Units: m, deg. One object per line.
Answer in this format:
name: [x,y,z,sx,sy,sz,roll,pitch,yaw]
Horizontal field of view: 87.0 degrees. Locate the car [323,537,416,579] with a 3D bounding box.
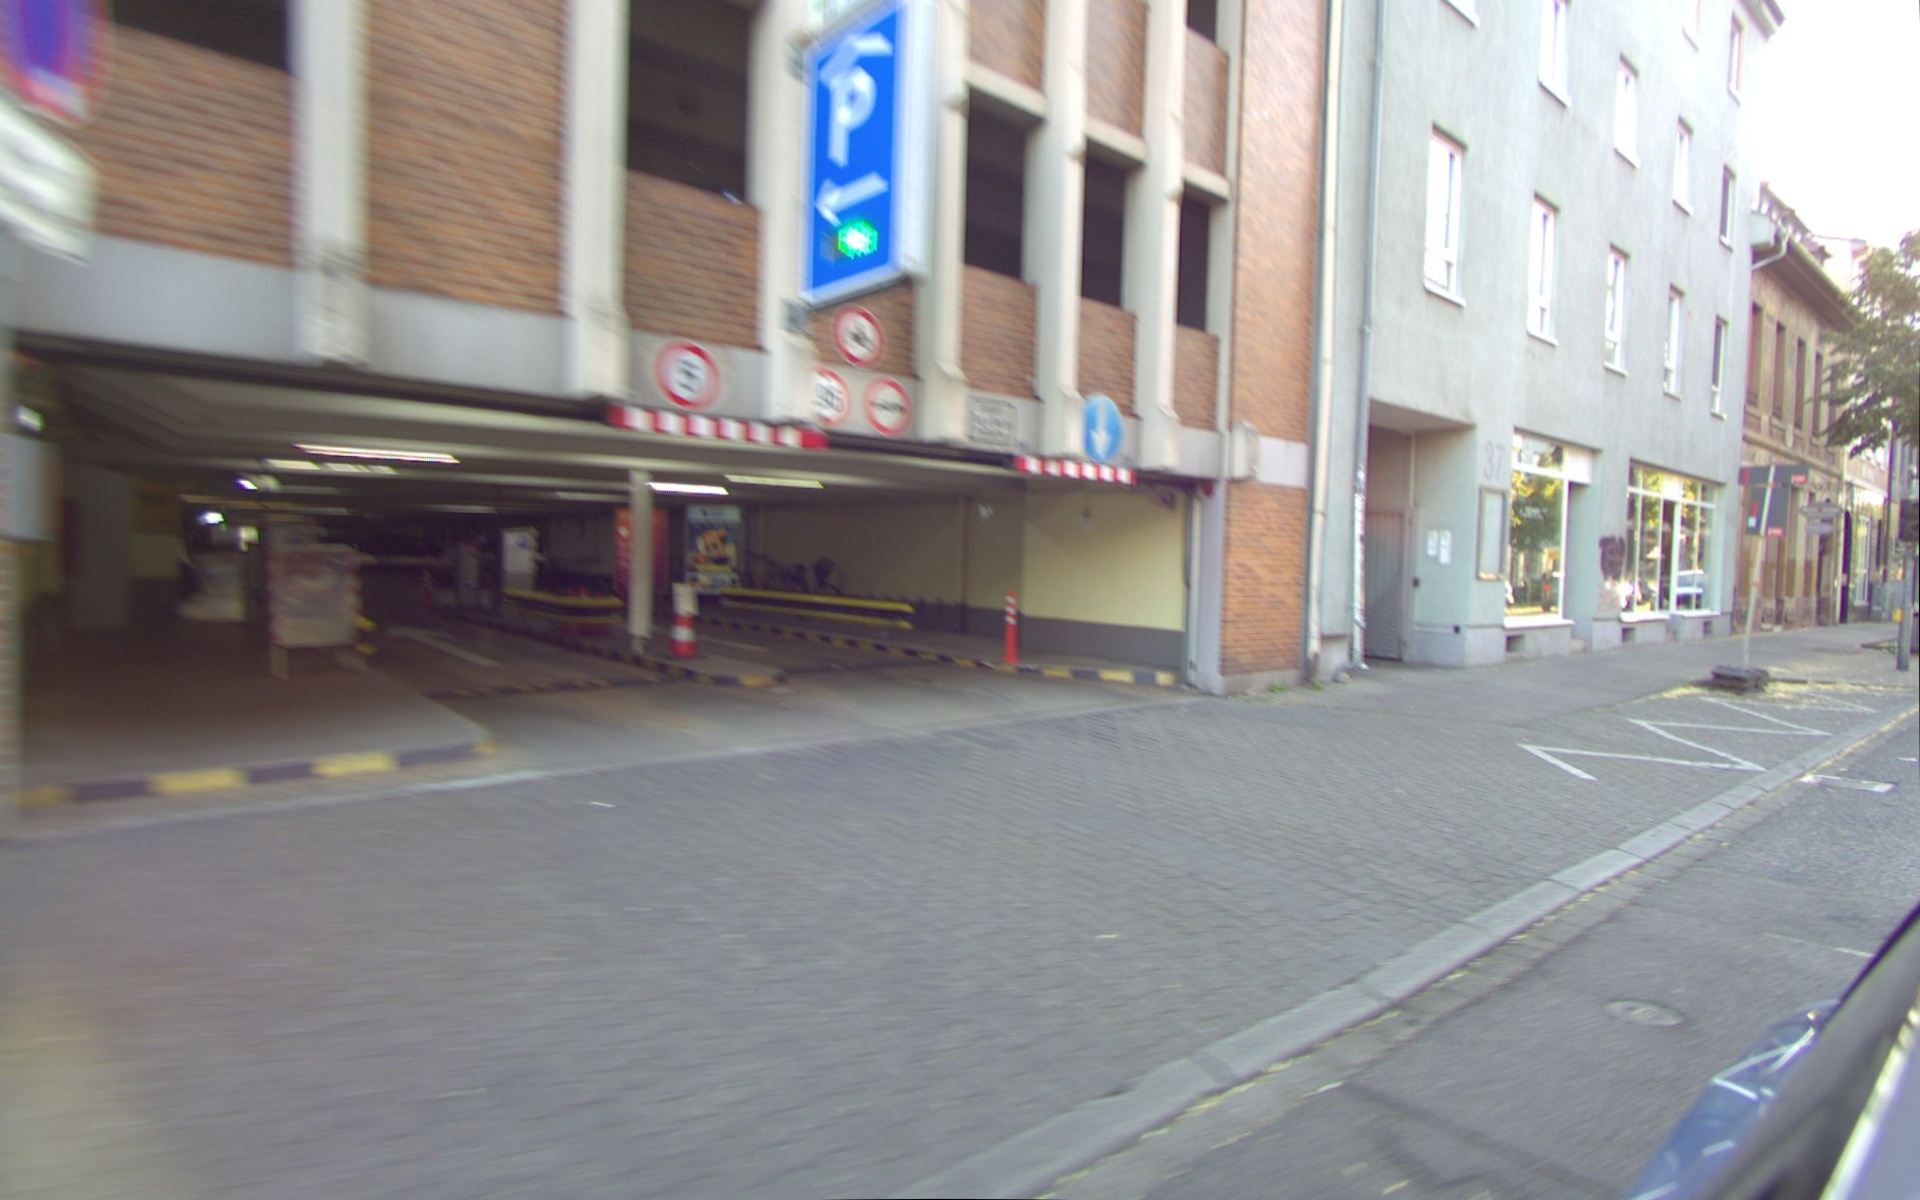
car: [-21.830,-1.519,37.564,1.640,1.467,3.291,0,1,-2]

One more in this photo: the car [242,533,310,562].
car: [-37.768,-2.889,55.938,1.640,1.467,3.291,0,1,-2]

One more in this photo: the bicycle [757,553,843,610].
bicycle: [-2.971,-0.366,18.544,0.327,0.936,2.351,0,3,-42]

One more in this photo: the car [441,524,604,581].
car: [-12.236,-1.279,28.398,3.925,1.467,1.672,-1,1,-36]

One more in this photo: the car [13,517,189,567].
car: [-27.206,-1.806,32.184,3.916,1.467,1.676,-1,0,-16]

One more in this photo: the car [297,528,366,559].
car: [-32.424,-2.882,52.289,1.640,1.467,3.291,0,1,-2]
